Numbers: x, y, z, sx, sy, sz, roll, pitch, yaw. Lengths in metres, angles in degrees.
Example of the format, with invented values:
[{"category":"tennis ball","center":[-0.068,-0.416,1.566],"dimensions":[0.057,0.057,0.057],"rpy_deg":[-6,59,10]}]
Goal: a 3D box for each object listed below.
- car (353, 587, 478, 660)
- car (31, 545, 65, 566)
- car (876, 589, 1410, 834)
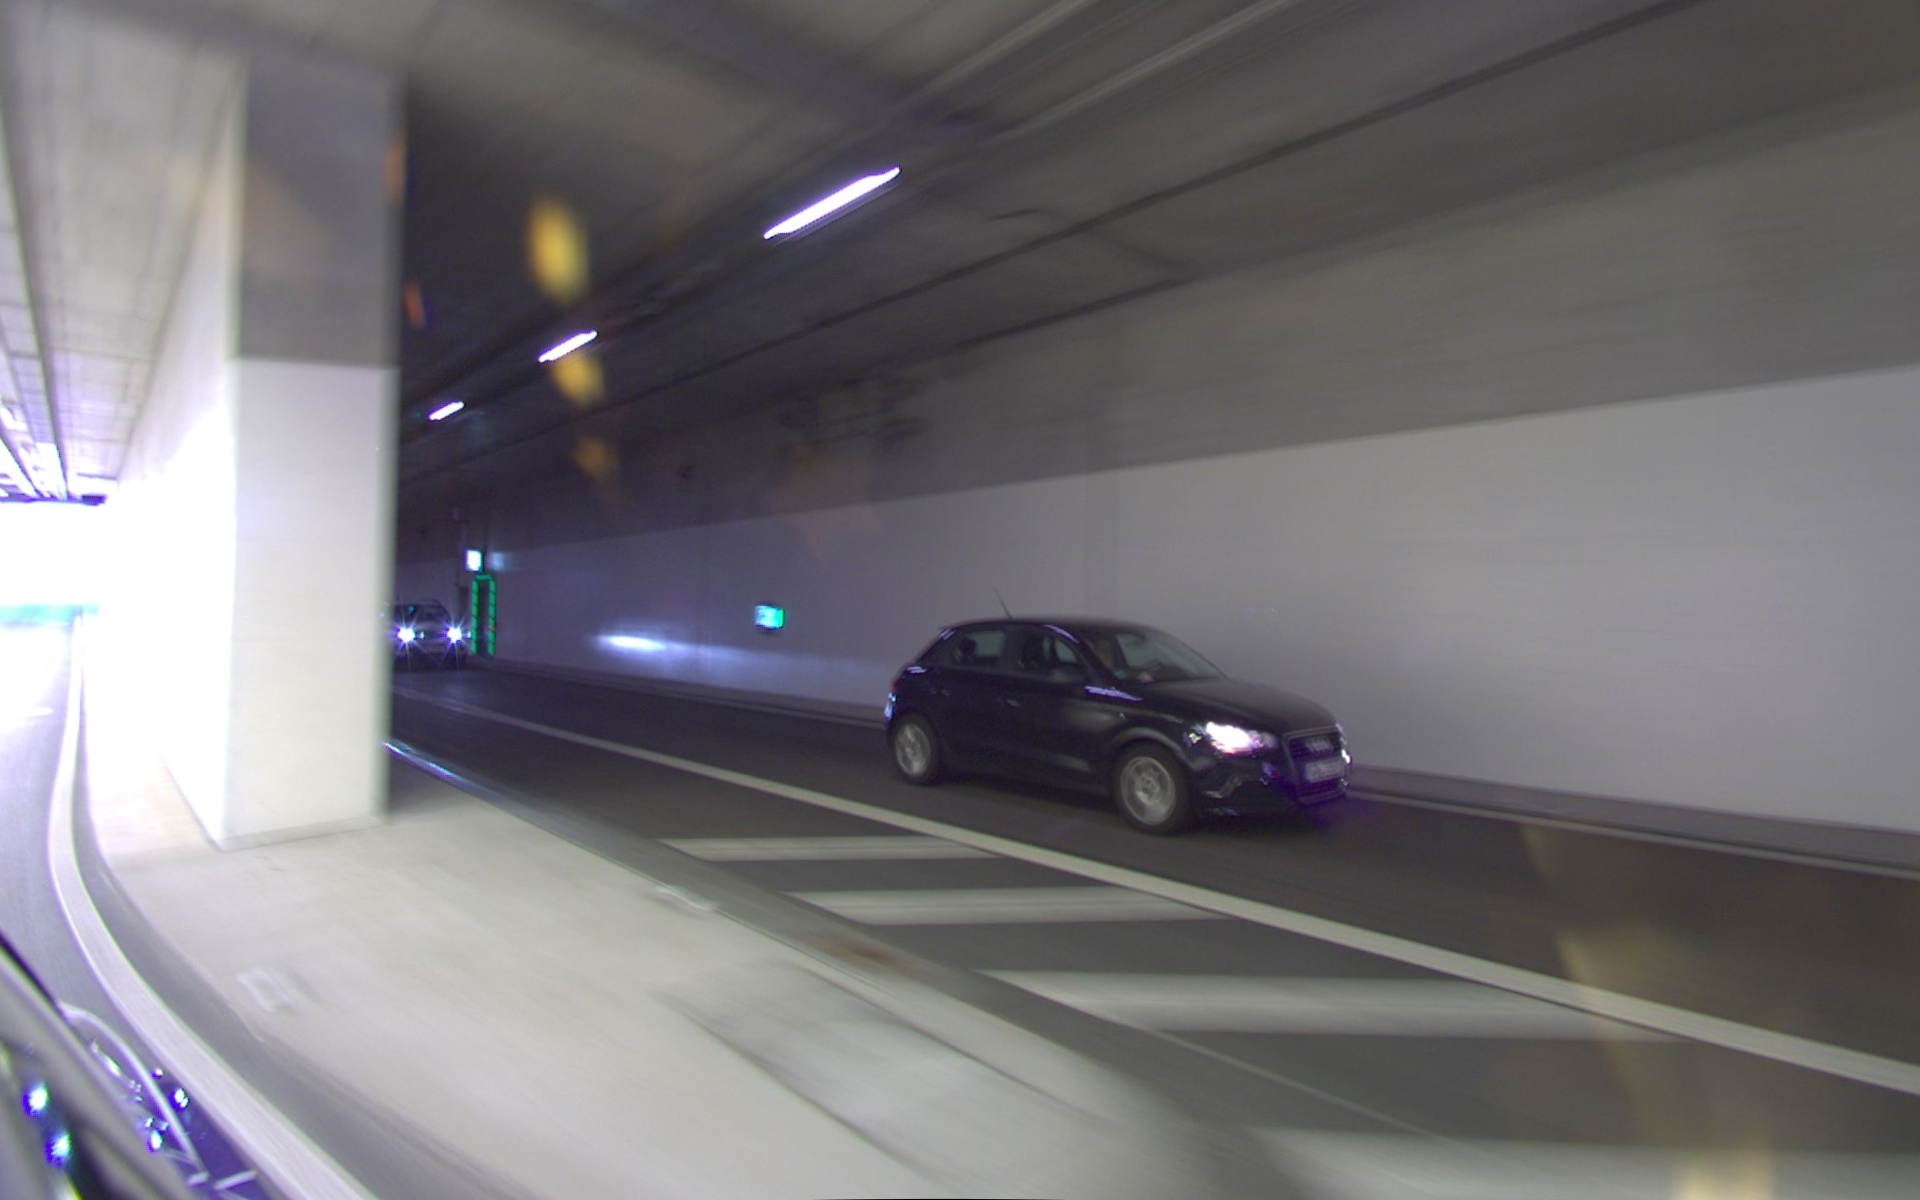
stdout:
[{"category":"car","center":[-13.630,0.569,25.242],"dimensions":[1.827,1.677,3.835],"rpy_deg":[2,-1,-43]},{"category":"car","center":[-68.728,-3.316,76.307],"dimensions":[1.802,1.346,4.006],"rpy_deg":[2,-1,-41]},{"category":"car","center":[1.183,0.663,7.830],"dimensions":[1.636,1.412,3.880],"rpy_deg":[1,-1,-42]}]
